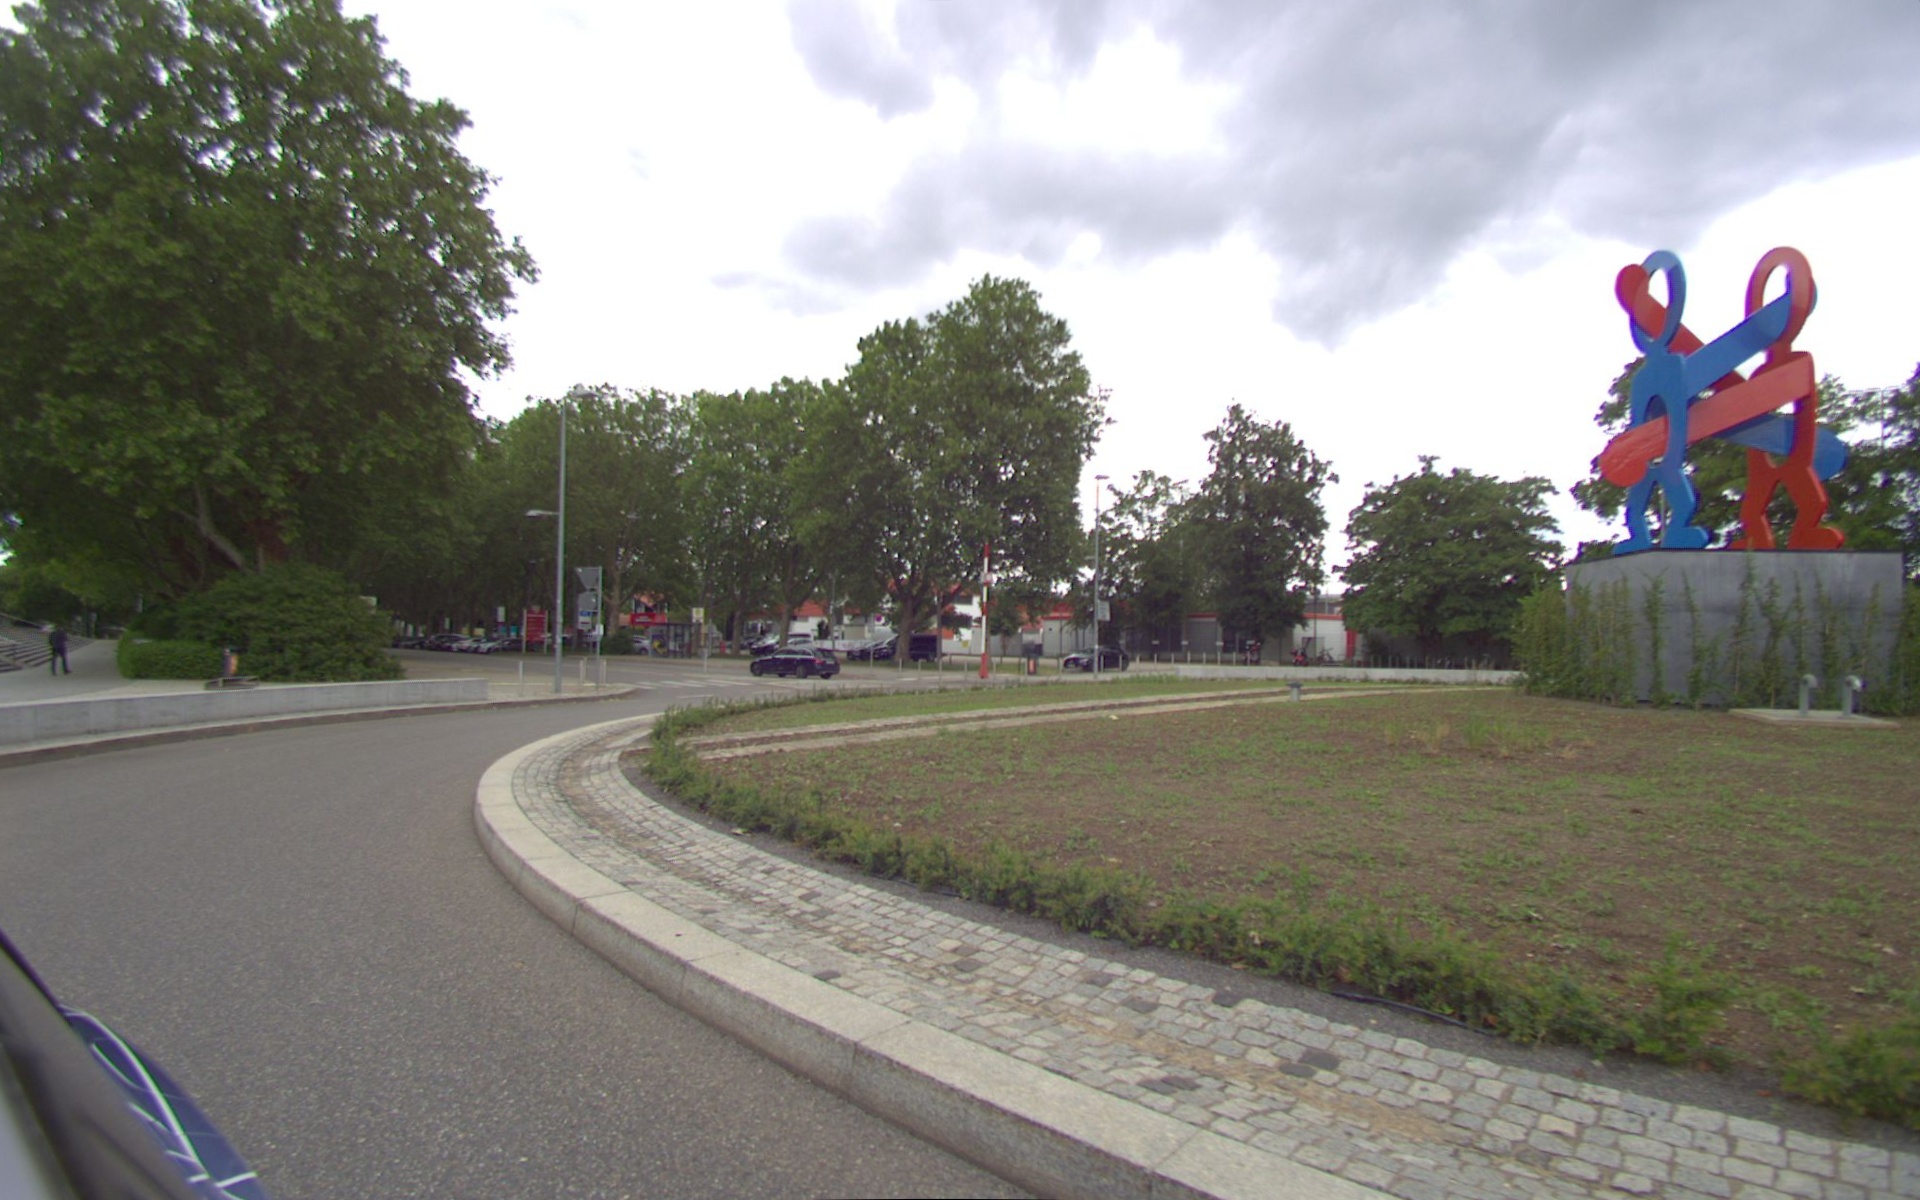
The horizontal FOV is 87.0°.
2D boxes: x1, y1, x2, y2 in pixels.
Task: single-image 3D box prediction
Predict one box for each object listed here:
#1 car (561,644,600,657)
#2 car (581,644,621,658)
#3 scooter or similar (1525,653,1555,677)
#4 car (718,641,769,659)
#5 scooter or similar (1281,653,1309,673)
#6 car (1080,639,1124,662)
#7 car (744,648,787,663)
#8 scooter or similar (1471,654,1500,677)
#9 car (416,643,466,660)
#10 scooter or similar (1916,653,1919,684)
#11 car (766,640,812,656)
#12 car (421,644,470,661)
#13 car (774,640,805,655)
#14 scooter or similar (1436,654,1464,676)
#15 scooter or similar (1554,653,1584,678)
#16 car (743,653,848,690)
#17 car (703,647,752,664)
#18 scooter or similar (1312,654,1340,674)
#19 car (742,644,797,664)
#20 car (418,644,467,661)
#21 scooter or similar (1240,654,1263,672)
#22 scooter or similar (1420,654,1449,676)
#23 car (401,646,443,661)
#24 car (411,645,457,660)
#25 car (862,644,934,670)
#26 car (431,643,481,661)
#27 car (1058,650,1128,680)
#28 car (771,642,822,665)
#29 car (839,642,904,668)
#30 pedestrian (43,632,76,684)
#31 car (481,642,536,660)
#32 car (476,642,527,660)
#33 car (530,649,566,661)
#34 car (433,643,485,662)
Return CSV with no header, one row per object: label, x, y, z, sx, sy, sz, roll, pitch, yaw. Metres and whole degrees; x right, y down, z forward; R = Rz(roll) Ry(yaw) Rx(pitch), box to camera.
car,-44.044,5.848,117.413,3.939,1.530,1.877,1,-3,-32
car,-39.799,5.649,112.255,3.939,1.530,1.877,1,-3,-32
scooter or similar,27.584,3.081,48.103,1.945,1.118,0.641,2,-4,-43
car,-18.907,4.356,88.310,3.940,1.530,1.877,1,-3,-33
scooter or similar,19.569,3.686,59.113,1.945,1.118,0.641,2,-4,-43
car,10.527,3.766,75.299,1.767,1.664,4.447,0,-3,-12
car,-20.202,5.759,105.193,3.945,1.530,1.874,2,-4,-42
scooter or similar,26.472,3.267,50.946,1.945,1.118,0.641,2,-4,-43
car,-53.946,5.360,105.264,4.365,1.664,1.800,2,-3,-38
scooter or similar,36.345,2.565,37.891,1.945,1.118,0.641,2,-4,-43
car,-17.450,4.897,103.285,4.369,1.664,1.798,2,-4,-43
car,-48.140,4.890,94.726,3.939,1.530,1.877,1,-3,-33
car,-19.992,5.540,118.583,1.769,1.733,3.960,2,-4,-43
scooter or similar,25.226,3.336,52.081,1.945,1.118,0.641,2,-4,-43
scooter or similar,28.274,3.027,46.953,1.945,1.118,0.641,2,-4,-43
car,-7.462,3.185,45.739,4.714,1.576,1.776,-2,-3,33
car,-20.929,4.994,91.150,3.940,1.530,1.877,1,-3,-33
scooter or similar,20.766,3.610,57.394,1.945,1.118,0.641,2,-4,-43
car,-15.485,4.389,82.317,3.940,1.530,1.877,1,-3,-34
car,-49.263,5.014,96.369,3.939,1.530,1.877,1,-3,-33
scooter or similar,17.930,3.876,62.236,1.782,1.103,0.546,2,-4,-43
scooter or similar,24.696,3.361,52.640,1.945,1.118,0.641,2,-4,-43
car,-58.989,5.879,110.966,3.939,1.530,1.877,1,-3,-33
car,-52.429,5.227,100.930,3.939,1.530,1.877,1,-3,-33
car,-4.197,3.867,69.021,4.738,1.741,2.014,2,-4,-42
car,-46.435,4.770,93.245,3.939,1.623,1.873,1,-3,-33
car,7.291,3.511,55.232,3.766,1.536,1.781,2,-4,-42
car,-13.059,4.268,80.773,3.649,1.791,1.675,1,-3,-34
car,-6.231,3.870,71.359,4.226,1.741,2.014,2,-4,-42
pedestrian,-30.771,1.980,34.583,0.548,1.775,0.594,-1,-3,5
car,-39.218,4.420,87.976,4.106,1.530,1.877,1,-3,-33
car,-40.732,4.552,89.933,3.939,1.530,1.877,1,-3,-33
car,-51.370,6.862,126.171,3.939,1.530,1.877,1,-3,-33
car,-45.313,4.745,91.554,3.939,1.623,1.873,1,-3,-33
